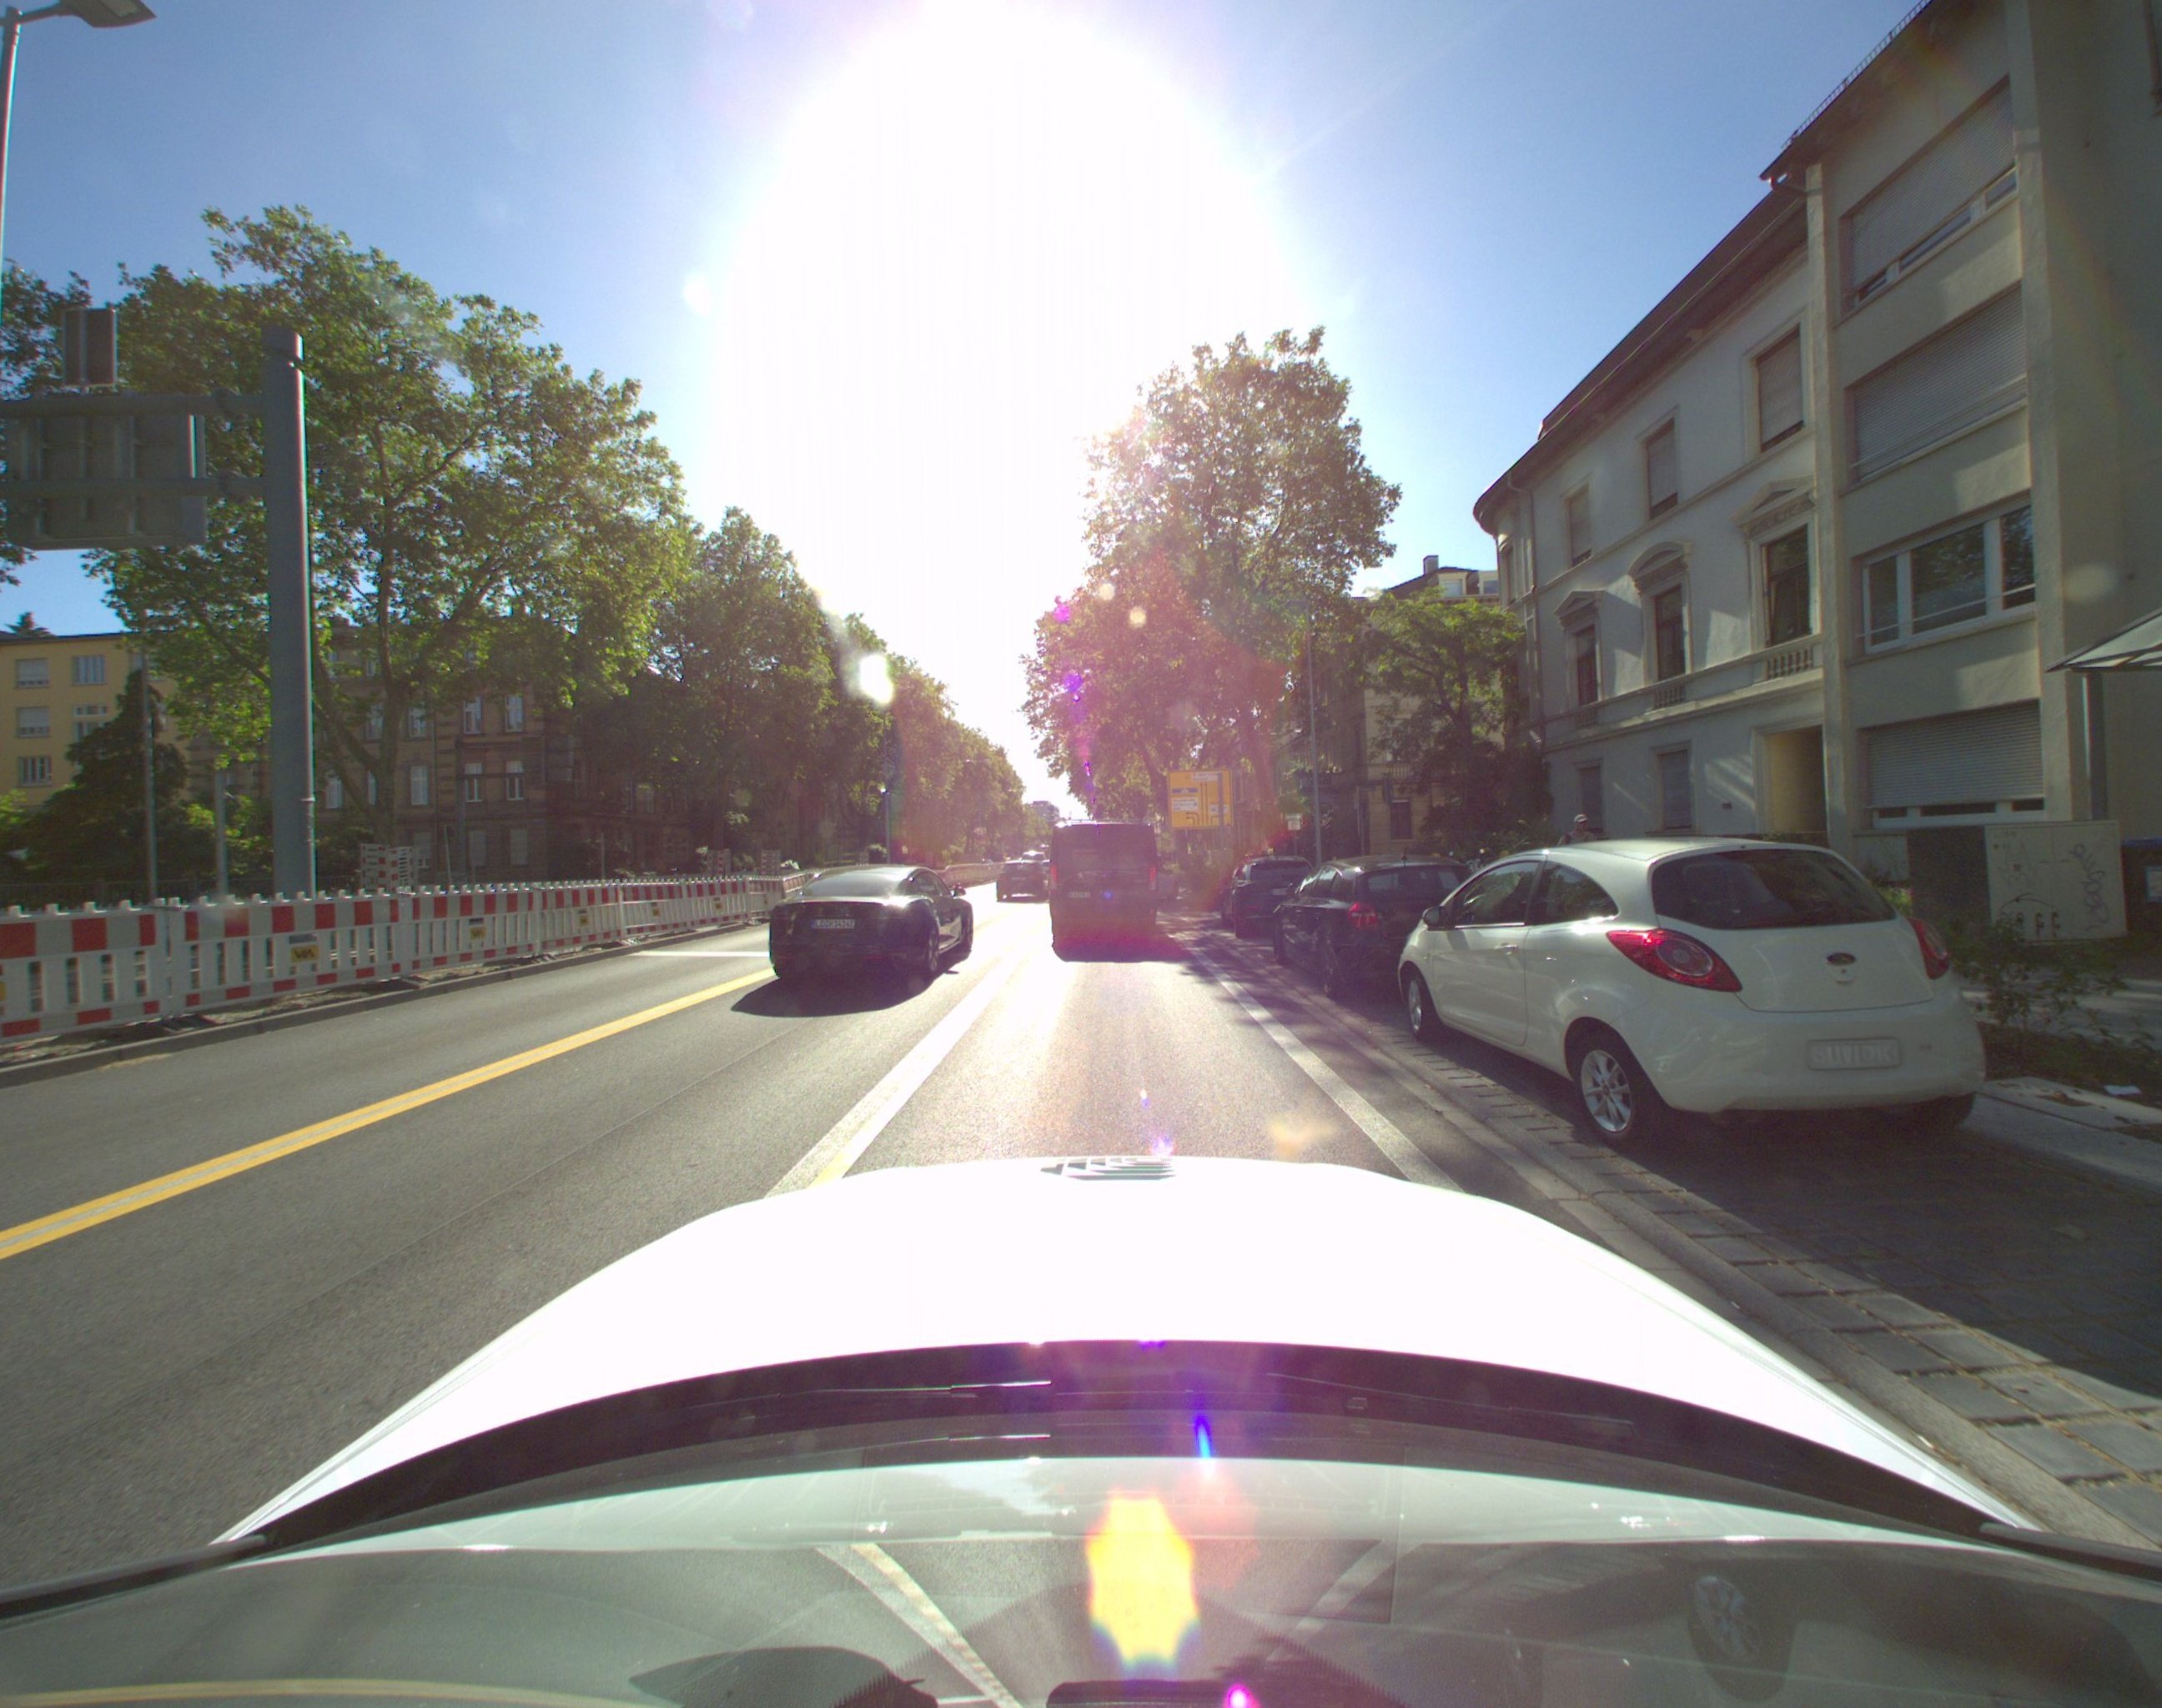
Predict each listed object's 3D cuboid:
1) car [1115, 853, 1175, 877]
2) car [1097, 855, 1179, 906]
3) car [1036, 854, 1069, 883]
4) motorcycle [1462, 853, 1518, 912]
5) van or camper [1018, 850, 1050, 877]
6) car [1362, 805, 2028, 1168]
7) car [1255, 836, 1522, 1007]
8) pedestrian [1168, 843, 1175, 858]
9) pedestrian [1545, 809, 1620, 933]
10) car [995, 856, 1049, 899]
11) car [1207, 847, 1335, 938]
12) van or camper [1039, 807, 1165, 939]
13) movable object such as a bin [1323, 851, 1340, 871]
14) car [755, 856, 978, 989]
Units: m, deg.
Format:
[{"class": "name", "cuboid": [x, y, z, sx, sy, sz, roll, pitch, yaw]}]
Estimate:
[{"class": "car", "cuboid": [4.495, 0.784, 56.655, 3.962, 1.568, 1.783, 1, -1, 10]}, {"class": "car", "cuboid": [2.048, 0.858, 27.992, 1.819, 1.486, 4.076, -2, 0, 18]}, {"class": "car", "cuboid": [-1.545, 0.778, 45.319, 1.614, 1.486, 3.735, -1, 0, 2]}, {"class": "motorcycle", "cuboid": [8.799, 0.590, 17.583, 0.593, 1.186, 1.559, -2, 0, 8]}, {"class": "van or camper", "cuboid": [-3.706, 0.760, 65.615, 1.986, 2.013, 5.331, -3, 0, 2]}, {"class": "car", "cuboid": [3.311, 0.584, 5.414, 1.614, 1.486, 3.735, -4, 0, 2]}, {"class": "car", "cuboid": [3.269, 0.628, 9.541, 1.614, 1.486, 4.058, -4, 0, 2]}, {"class": "pedestrian", "cuboid": [14.527, -0.579, 131.178, 1.053, 2.346, 0.817, -1, -1, 4]}, {"class": "pedestrian", "cuboid": [7.812, 0.262, 12.720, 0.662, 1.849, 0.694, -3, -1, 1]}, {"class": "car", "cuboid": [-2.121, 0.826, 30.373, 1.614, 1.486, 3.735, -1, 0, 2]}, {"class": "car", "cuboid": [3.618, 0.676, 16.183, 1.614, 1.486, 4.099, -4, 0, 2]}, {"class": "van or camper", "cuboid": [0.397, 0.355, 17.046, 2.238, 2.346, 4.537, -1, 0, 0]}, {"class": "movable object such as a bin", "cuboid": [12.788, 0.343, 41.531, 0.684, 0.970, 0.548, -2, -1, 4]}, {"class": "car", "cuboid": [-2.739, 0.792, 11.561, 1.831, 1.483, 4.477, -1, 0, 2]}]
